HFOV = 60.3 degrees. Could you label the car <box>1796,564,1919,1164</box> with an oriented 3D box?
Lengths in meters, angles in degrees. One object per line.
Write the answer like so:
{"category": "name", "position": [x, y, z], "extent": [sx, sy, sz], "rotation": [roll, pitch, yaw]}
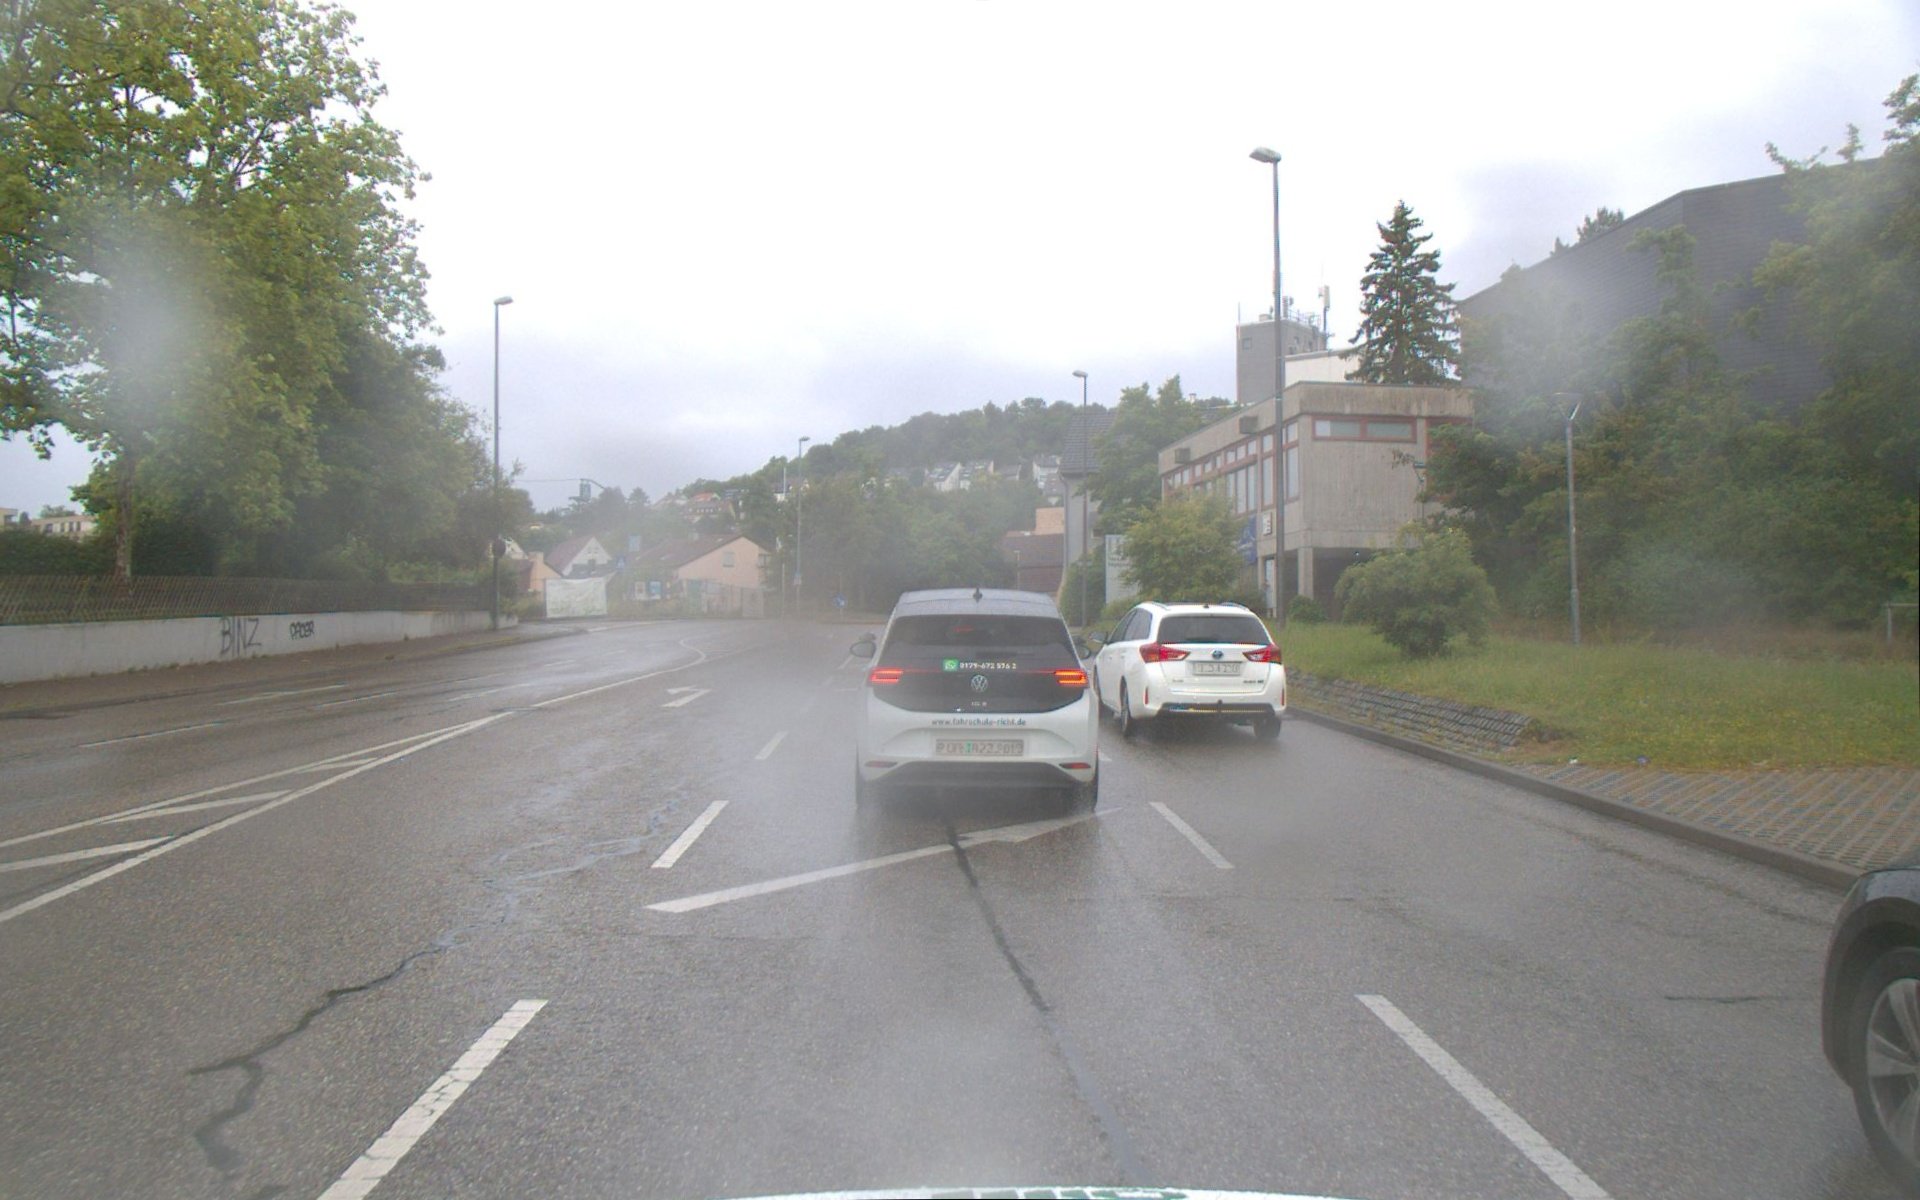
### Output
{"category": "car", "position": [3.444, 0.695, 2.555], "extent": [1.914, 1.534, 4.608], "rotation": [2, -1, 0]}

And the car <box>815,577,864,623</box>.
{"category": "car", "position": [-5.701, 0.030, 78.718], "extent": [1.953, 2.049, 3.999], "rotation": [1, -1, 0]}

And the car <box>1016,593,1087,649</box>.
{"category": "car", "position": [2.633, 0.606, 48.260], "extent": [1.952, 1.478, 3.771], "rotation": [-2, -1, 2]}

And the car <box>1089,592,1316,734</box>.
{"category": "car", "position": [2.634, 0.669, 18.952], "extent": [1.811, 1.434, 4.299], "rotation": [1, -1, -2]}

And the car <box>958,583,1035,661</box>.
{"category": "car", "position": [0.733, 0.433, 35.309], "extent": [1.535, 1.557, 4.000], "rotation": [0, 0, 0]}

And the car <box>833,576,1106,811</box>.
{"category": "car", "position": [0.137, 0.642, 12.980], "extent": [1.790, 1.526, 4.169], "rotation": [1, -1, 2]}

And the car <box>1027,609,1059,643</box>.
{"category": "car", "position": [5.292, 1.663, 105.617], "extent": [1.952, 2.049, 4.001], "rotation": [1, -1, 2]}
